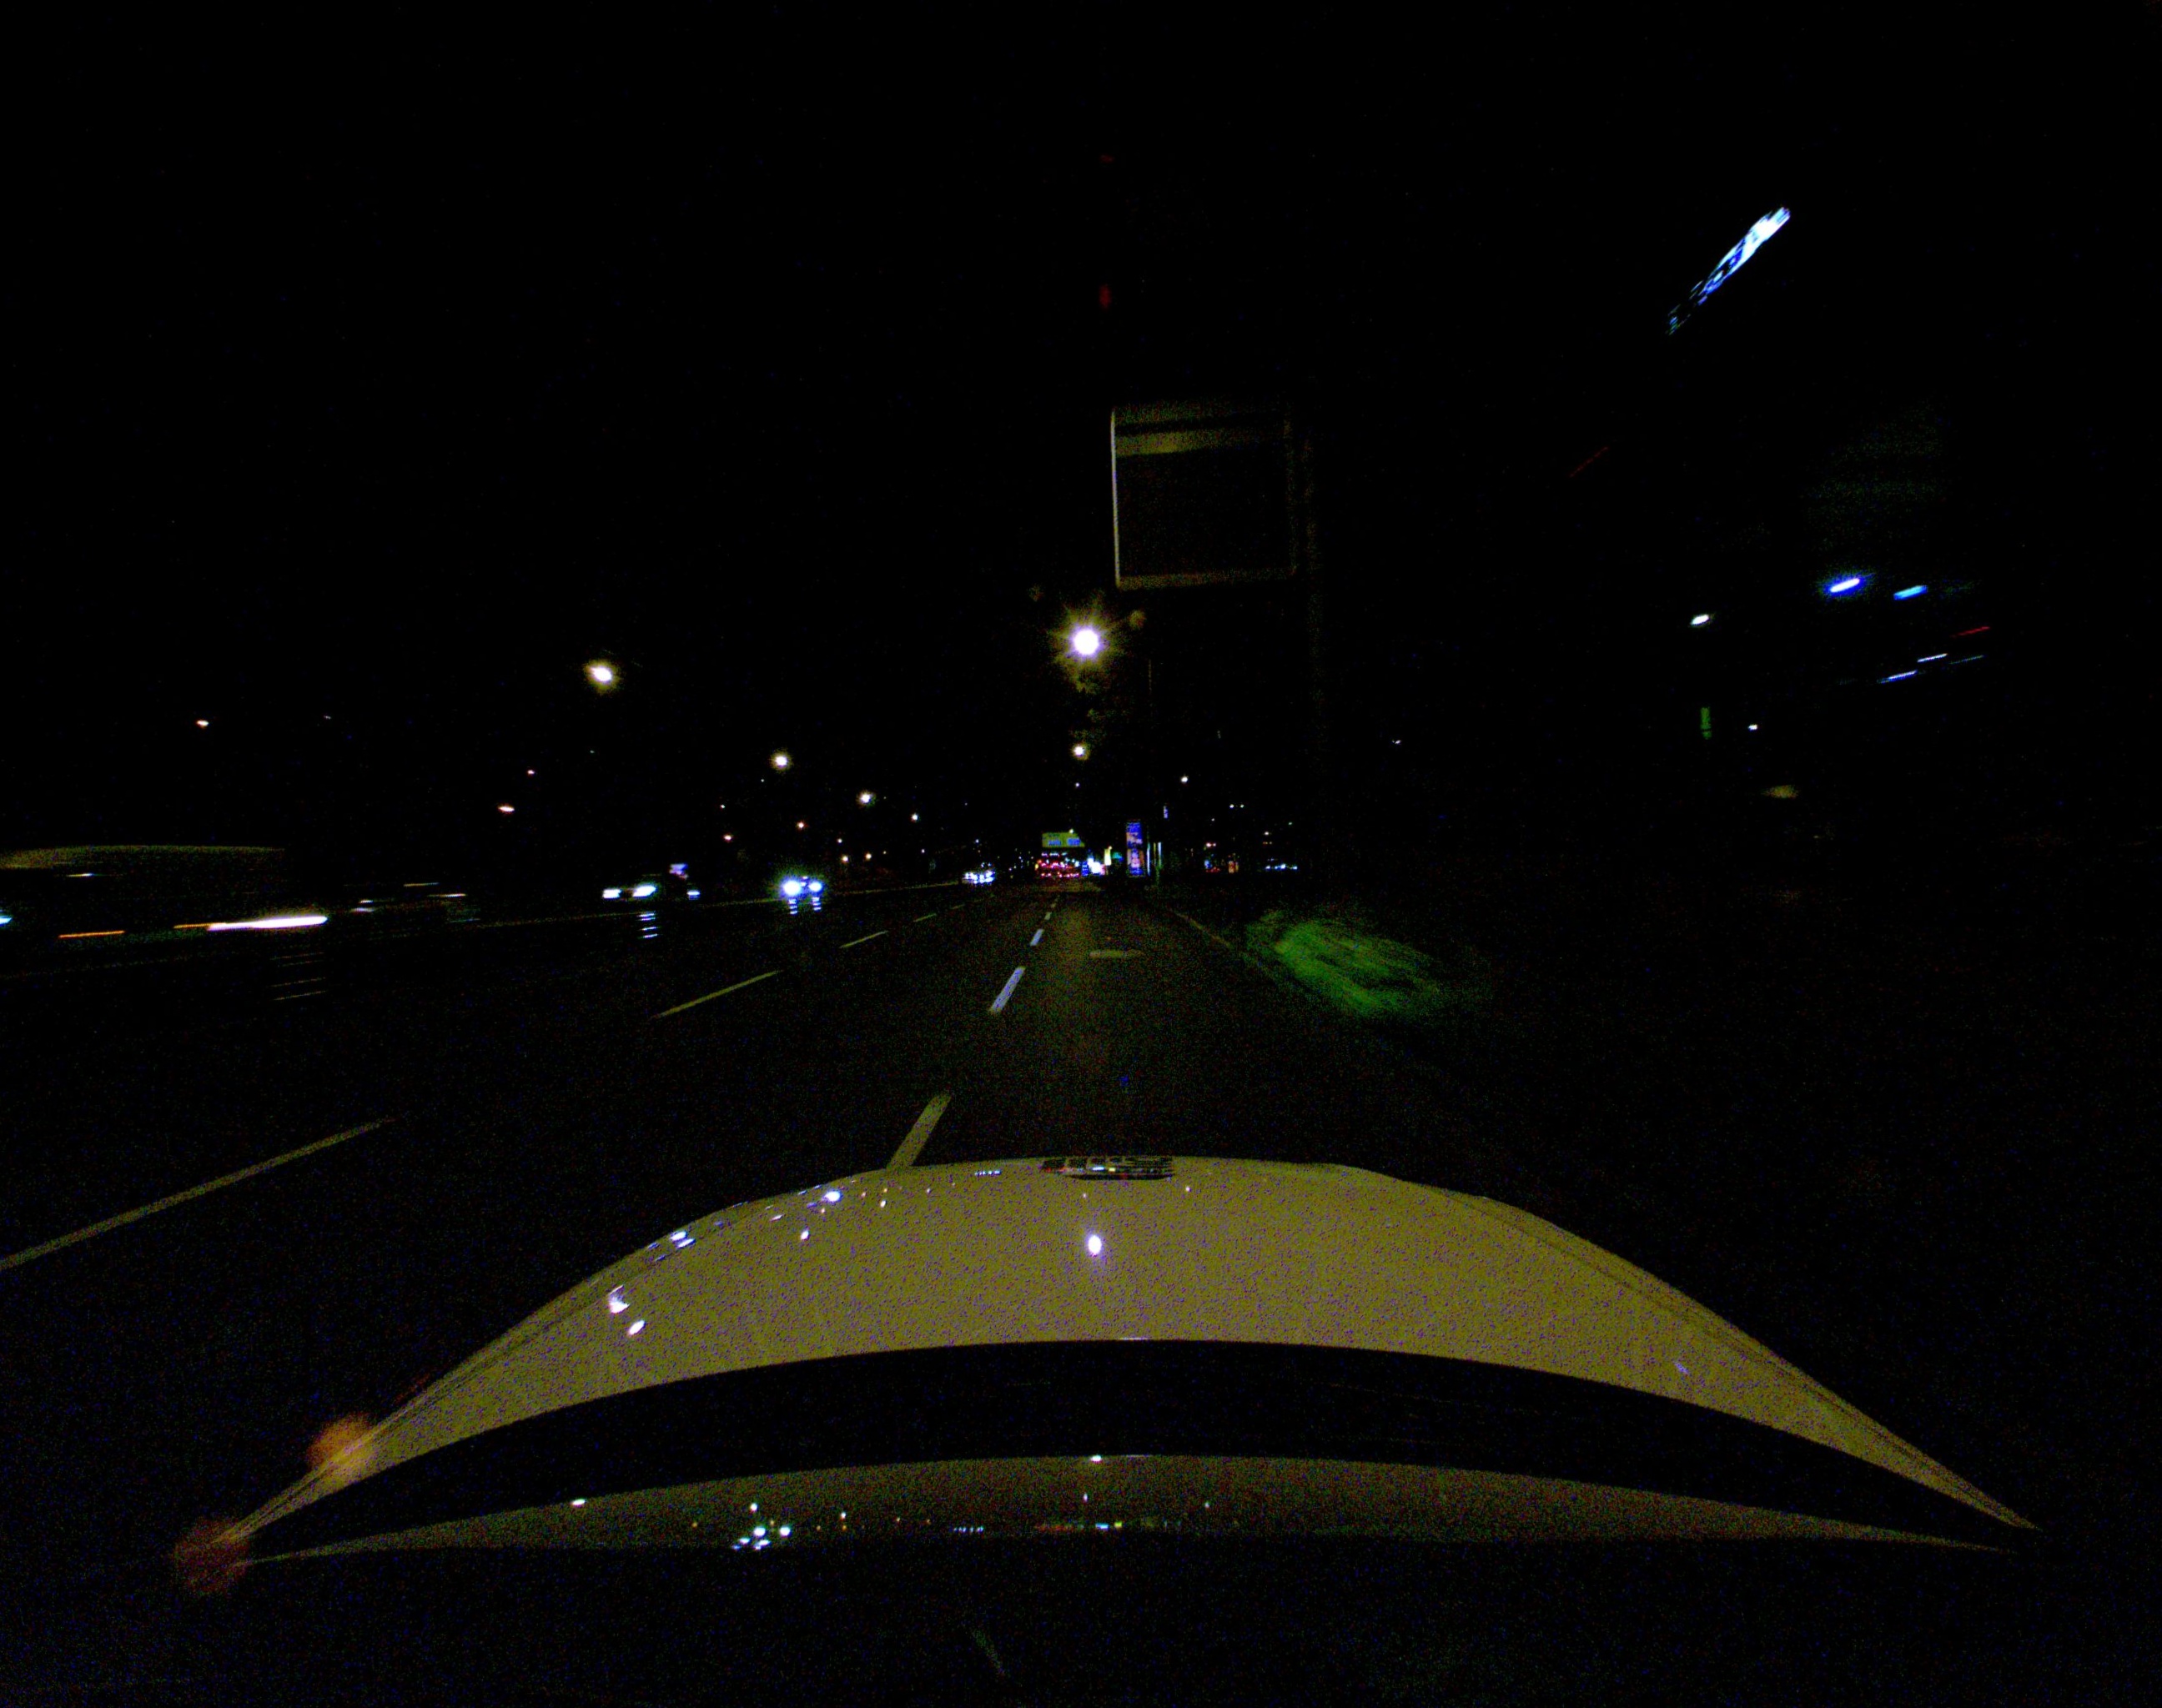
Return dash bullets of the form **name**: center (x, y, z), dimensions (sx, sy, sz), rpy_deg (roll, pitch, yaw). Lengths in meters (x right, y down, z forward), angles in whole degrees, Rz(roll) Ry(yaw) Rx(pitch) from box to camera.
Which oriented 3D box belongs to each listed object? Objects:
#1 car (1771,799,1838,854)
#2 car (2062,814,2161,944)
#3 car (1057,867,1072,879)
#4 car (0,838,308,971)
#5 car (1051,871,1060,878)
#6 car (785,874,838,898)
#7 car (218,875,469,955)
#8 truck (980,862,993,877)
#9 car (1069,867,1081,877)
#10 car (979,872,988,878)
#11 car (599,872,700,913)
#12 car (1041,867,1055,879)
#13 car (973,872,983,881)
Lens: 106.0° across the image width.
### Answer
- **car**: center (30.865, -1.187, 34.719), dimensions (4.025, 1.658, 1.612), rpy_deg (-11, 0, -43)
- **car**: center (17.807, 0.352, 11.073), dimensions (1.989, 2.014, 5.621), rpy_deg (-1, -1, -3)
- **car**: center (-2.989, 3.472, 149.135), dimensions (2.347, 2.129, 4.828), rpy_deg (-1, -1, 2)
- **car**: center (-22.686, 1.117, 19.173), dimensions (2.138, 2.671, 6.962), rpy_deg (-4, -1, 1)
- **car**: center (-5.873, 4.801, 189.593), dimensions (1.988, 1.553, 3.998), rpy_deg (-1, -1, -1)
- **car**: center (-17.986, 2.109, 54.555), dimensions (1.860, 1.429, 4.955), rpy_deg (-1, -1, 0)
- **car**: center (-16.415, 1.278, 18.491), dimensions (1.614, 1.440, 4.339), rpy_deg (-3, -1, 1)
- **truck**: center (-25.707, 4.260, 222.353), dimensions (3.032, 3.819, 4.933), rpy_deg (-1, -1, -1)
- **car**: center (-1.325, 3.836, 175.902), dimensions (2.418, 2.113, 4.828), rpy_deg (-1, -1, 2)
- **car**: center (-24.744, 5.411, 207.251), dimensions (1.905, 1.474, 3.769), rpy_deg (-1, -1, -1)
- **car**: center (-18.937, 1.638, 36.026), dimensions (1.855, 1.514, 4.615), rpy_deg (-3, -1, 1)
- **car**: center (-6.287, 3.585, 154.338), dimensions (2.254, 2.014, 4.828), rpy_deg (-1, -1, 2)
- **car**: center (-23.318, 5.101, 184.729), dimensions (1.858, 1.750, 3.699), rpy_deg (-1, -1, -1)
